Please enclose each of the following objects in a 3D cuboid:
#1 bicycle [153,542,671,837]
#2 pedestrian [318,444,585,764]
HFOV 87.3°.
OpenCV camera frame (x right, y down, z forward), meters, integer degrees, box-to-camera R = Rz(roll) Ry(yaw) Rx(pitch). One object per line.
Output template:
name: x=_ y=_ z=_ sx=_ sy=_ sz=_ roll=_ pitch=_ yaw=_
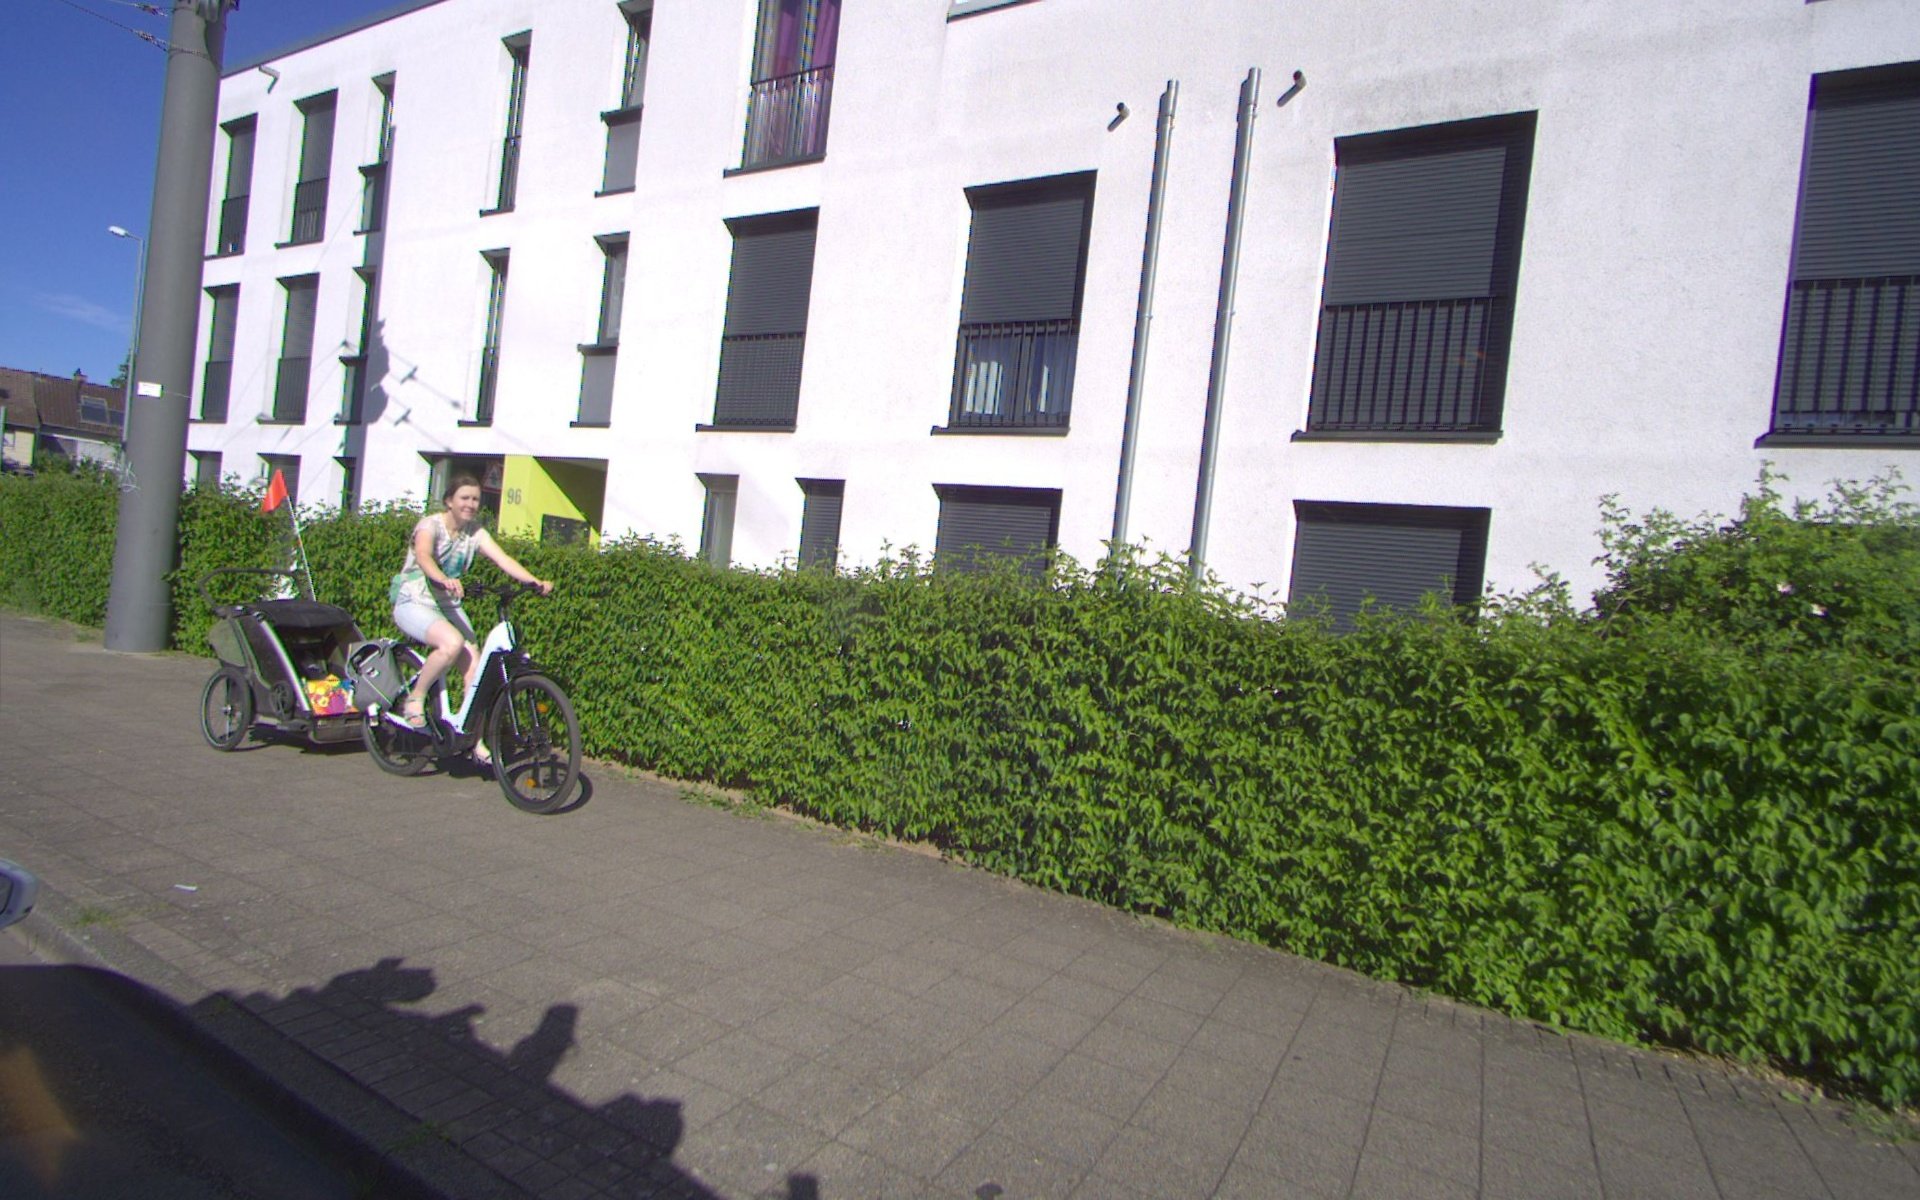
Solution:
bicycle: x=-3.266 y=0.419 z=5.894 sx=3.069 sy=1.188 sz=0.931 roll=6 pitch=1 yaw=24
pedestrian: x=-2.867 y=0.018 z=5.727 sx=0.839 sy=1.614 sz=0.913 roll=6 pitch=1 yaw=24
